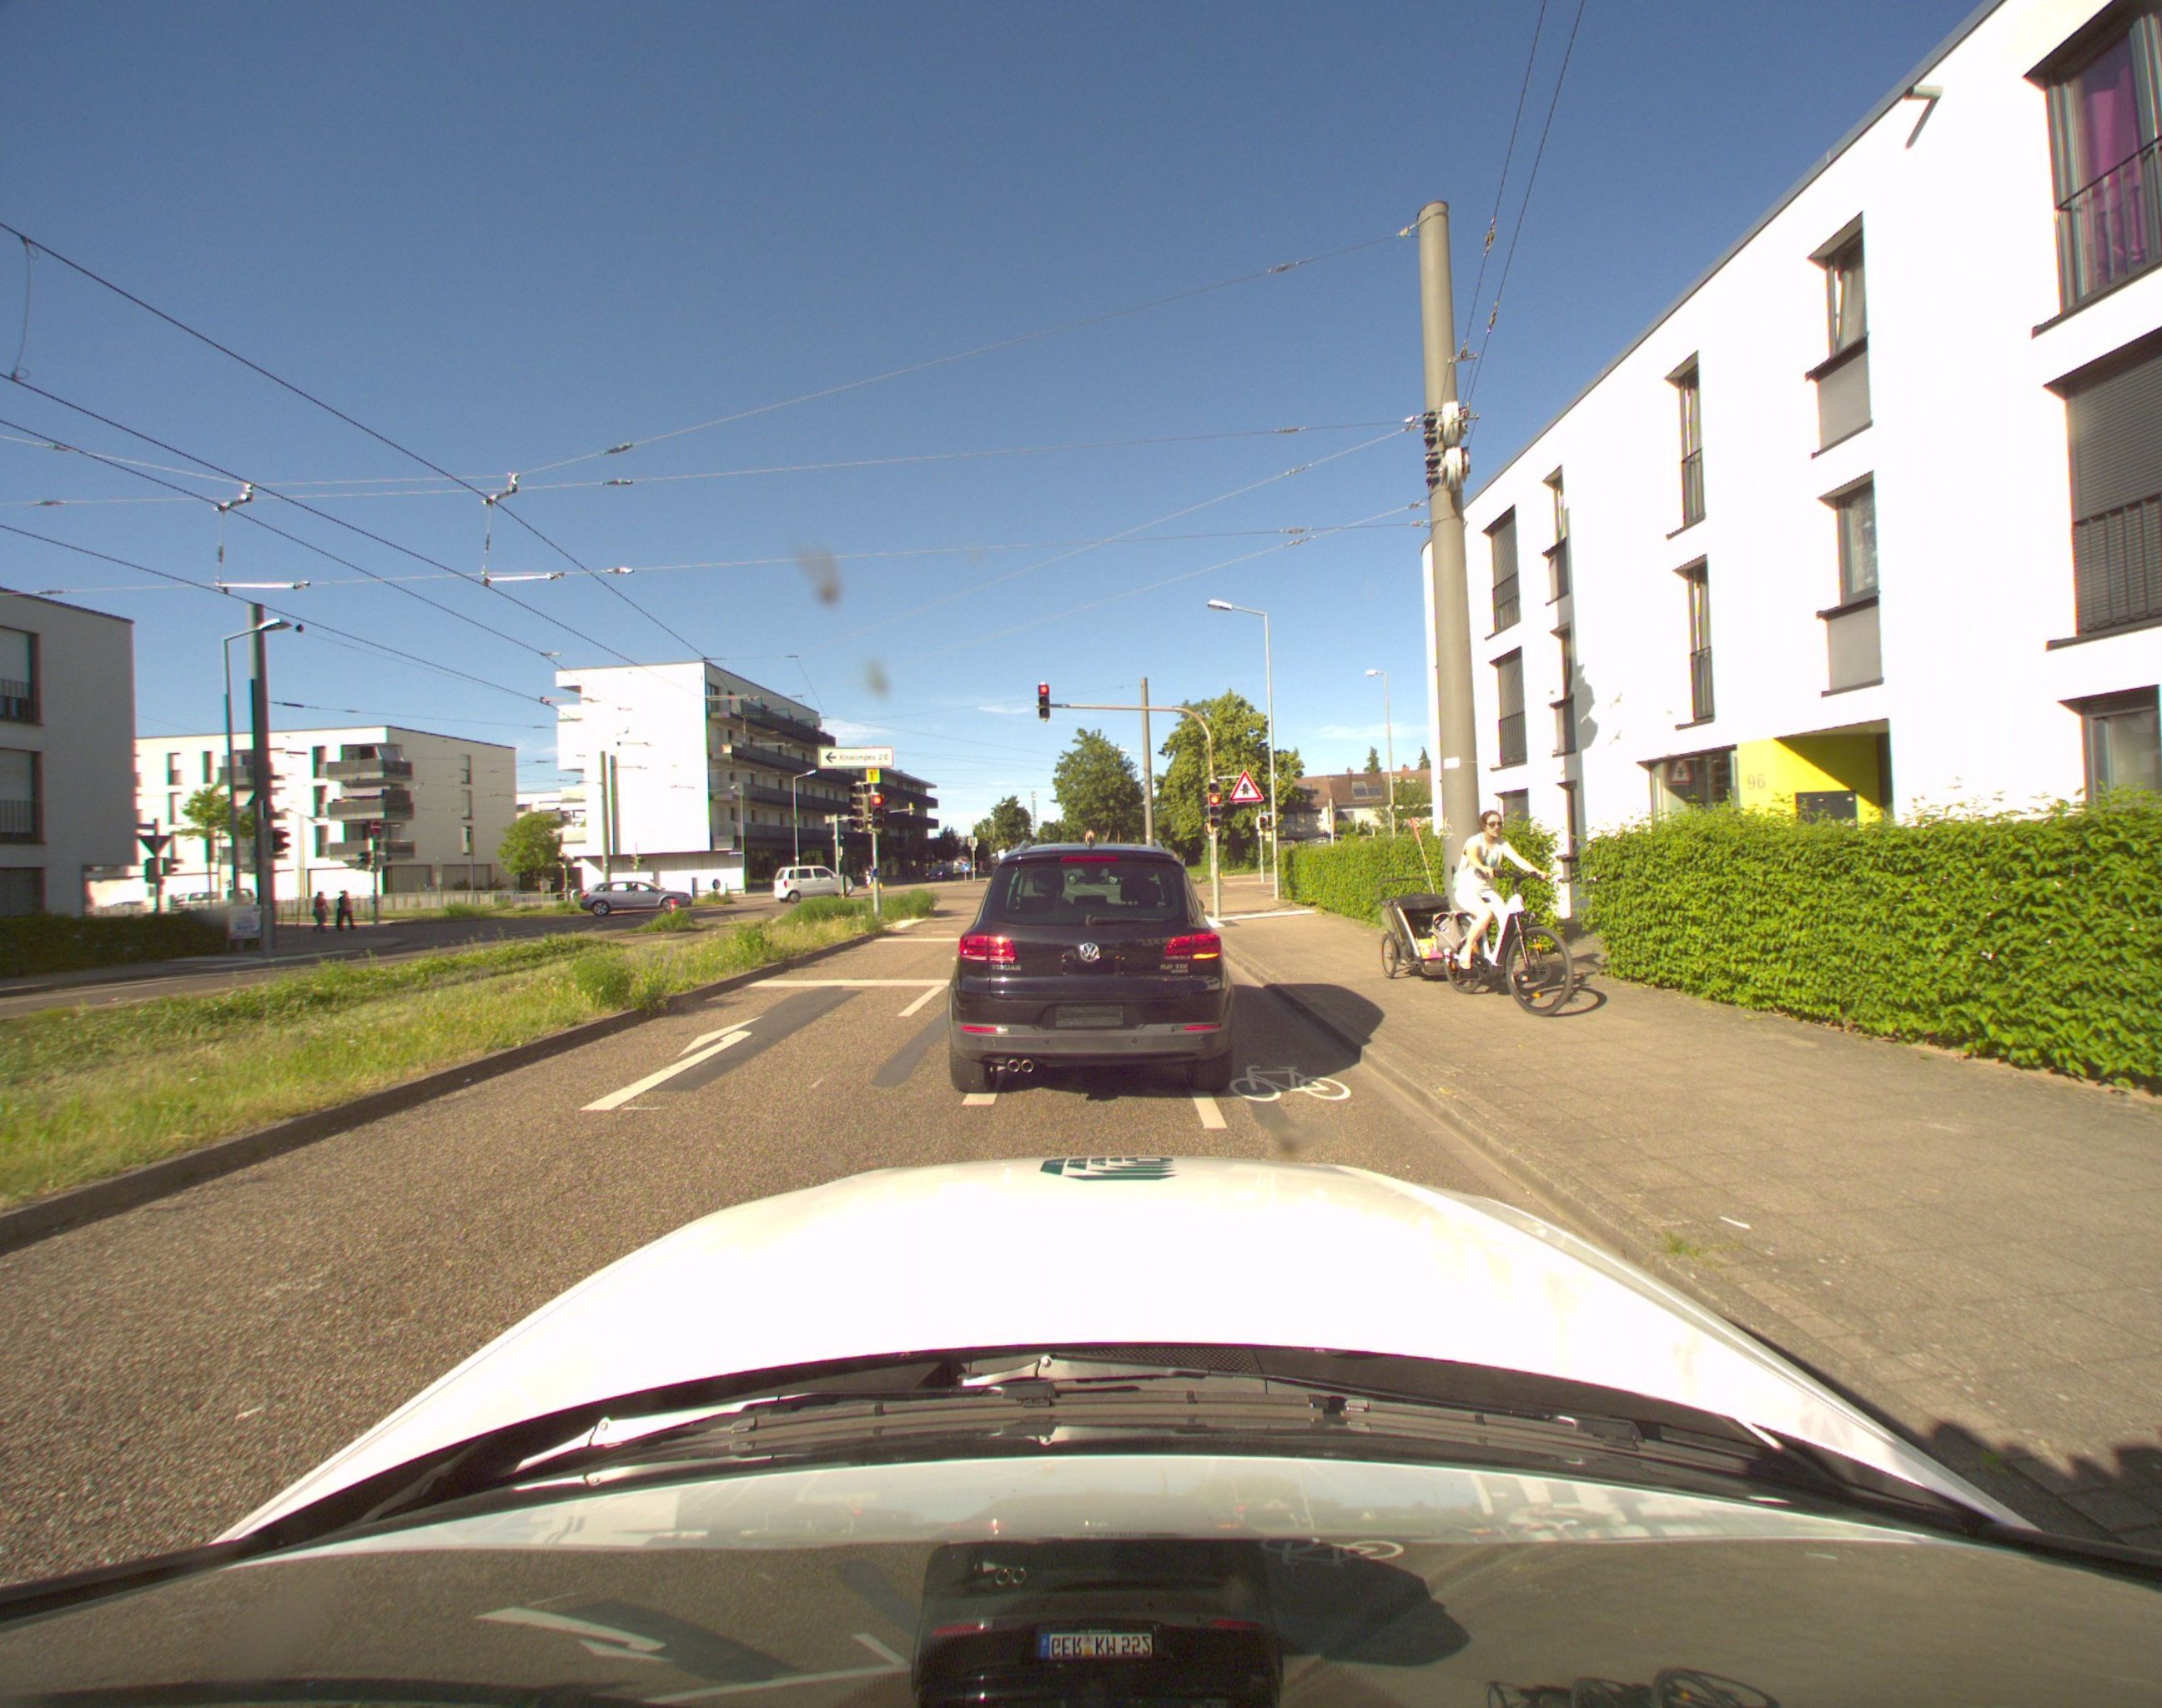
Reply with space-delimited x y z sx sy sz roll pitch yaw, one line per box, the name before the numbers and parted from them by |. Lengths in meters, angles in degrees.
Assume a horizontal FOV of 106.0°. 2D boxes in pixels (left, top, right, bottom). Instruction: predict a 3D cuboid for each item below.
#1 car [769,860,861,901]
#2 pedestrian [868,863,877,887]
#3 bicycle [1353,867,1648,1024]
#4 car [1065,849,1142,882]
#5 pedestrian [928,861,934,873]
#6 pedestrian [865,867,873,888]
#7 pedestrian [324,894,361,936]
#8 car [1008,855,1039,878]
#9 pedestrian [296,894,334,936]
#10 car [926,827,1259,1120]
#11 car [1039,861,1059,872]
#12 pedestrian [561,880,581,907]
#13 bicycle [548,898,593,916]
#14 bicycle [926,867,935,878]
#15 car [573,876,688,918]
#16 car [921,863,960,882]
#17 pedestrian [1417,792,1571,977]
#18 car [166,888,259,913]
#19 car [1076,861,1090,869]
car | -12.443 1.222 38.132 3.702 1.720 1.850 -2 0 -35
pedestrian | -15.312 1.557 59.841 0.542 1.744 0.517 0 -1 -4
bicycle | 3.831 0.736 7.962 0.928 1.173 3.117 -3 0 -7
car | 1.294 0.639 46.769 3.949 1.836 2.012 -1 -1 30
pedestrian | -18.637 1.624 101.097 0.640 1.509 0.596 0 -1 2
pedestrian | -15.401 1.671 59.094 0.440 1.503 0.517 0 -1 -4
pedestrian | -29.348 2.414 32.381 0.769 1.605 0.742 0 -1 -3
car | -4.310 0.923 61.640 1.986 1.684 4.001 0 -1 1
pedestrian | -30.483 2.423 32.422 0.769 1.605 0.742 0 -1 -3
car | 0.127 0.690 6.582 1.862 1.637 4.001 0 -1 2
car | -4.692 1.865 119.223 1.981 1.574 4.350 -1 -1 9
pedestrian | -32.231 2.496 51.475 0.809 1.692 0.621 -3 -1 3
bicycle | -32.254 3.321 51.444 2.400 1.002 0.641 -3 -1 2
bicycle | -18.647 2.250 101.049 0.627 1.332 1.914 0 -1 3
car | -19.093 1.787 34.703 4.118 1.485 1.854 -2 -1 -26
car | -12.373 1.639 71.955 1.980 1.574 4.353 -1 -1 11
pedestrian | 3.847 0.269 7.652 0.910 1.594 0.852 -3 -1 -7
car | -58.856 3.153 55.220 4.305 1.574 2.002 0 -1 4
car | 0.321 2.124 155.982 1.981 1.574 4.350 -1 -1 9
